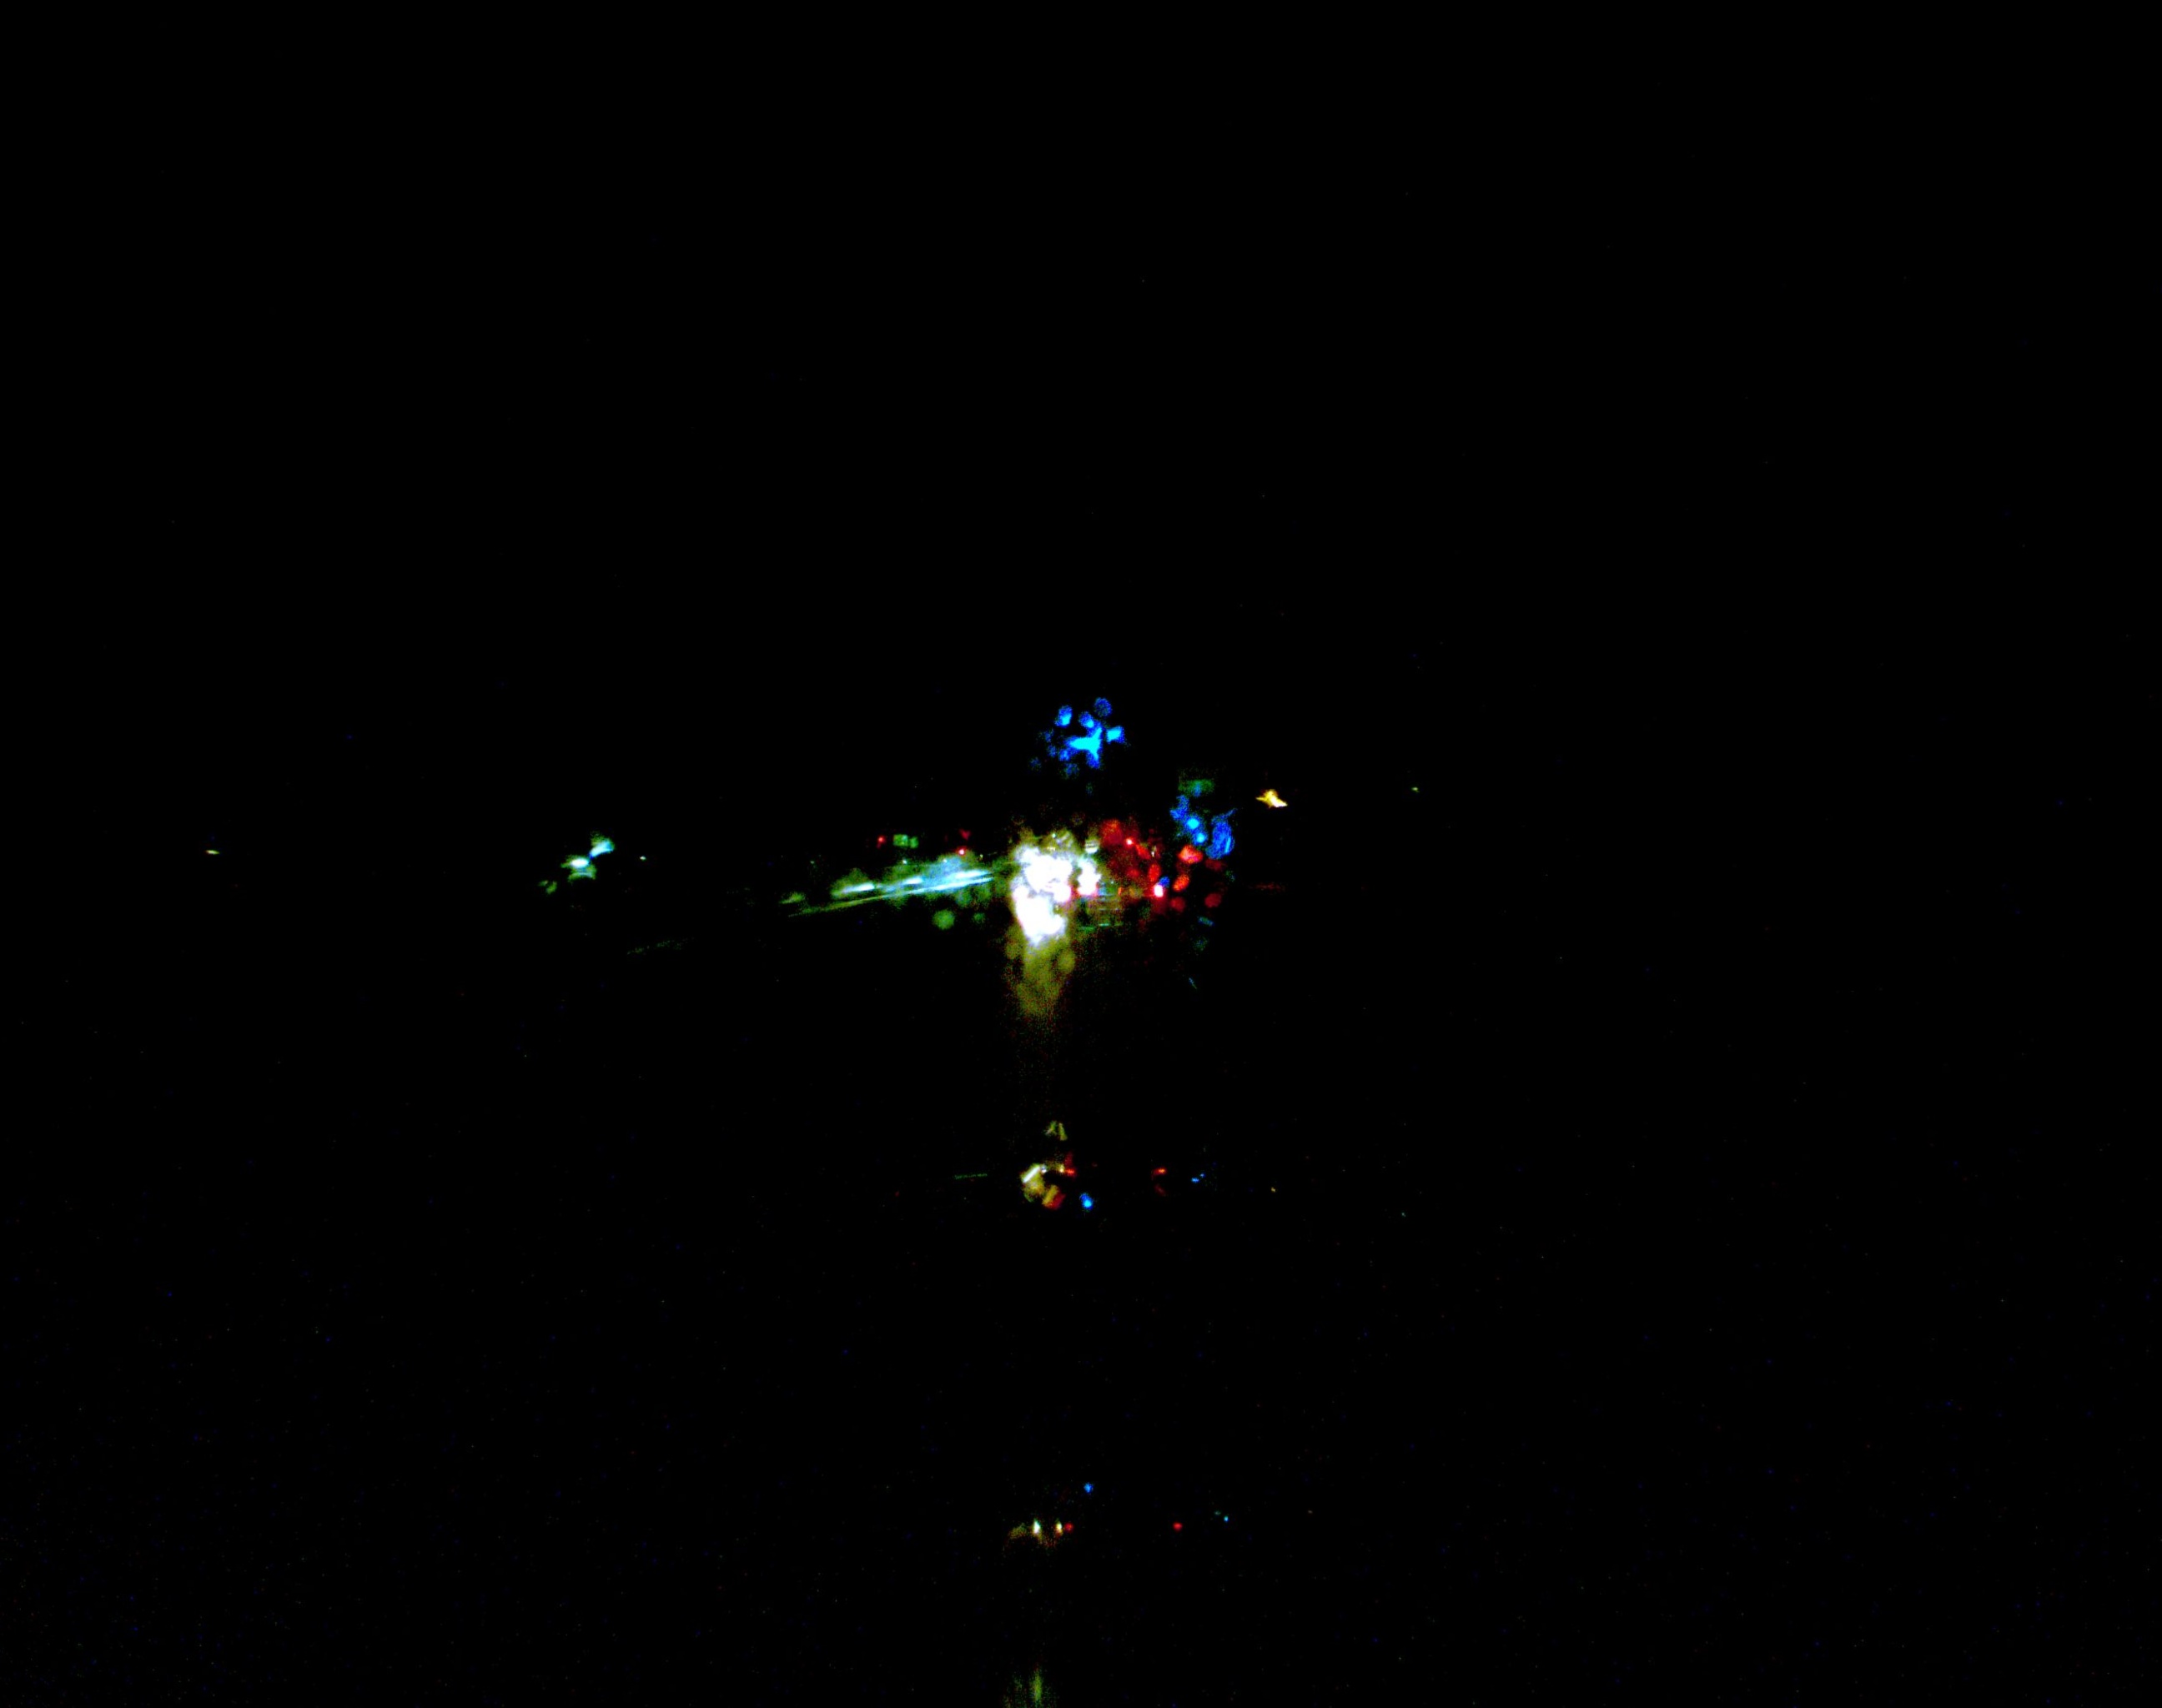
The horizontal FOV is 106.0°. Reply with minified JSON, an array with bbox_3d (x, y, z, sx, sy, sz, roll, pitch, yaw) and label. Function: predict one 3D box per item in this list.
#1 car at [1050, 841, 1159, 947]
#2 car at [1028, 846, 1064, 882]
[{"bbox_3d":[0.402,0.663,15.410,1.769,1.712,3.999,-1,0,0],"label":"car"},{"bbox_3d":[-2.135,0.666,49.453,1.989,2.014,3.995,-2,-2,-3],"label":"car"}]
